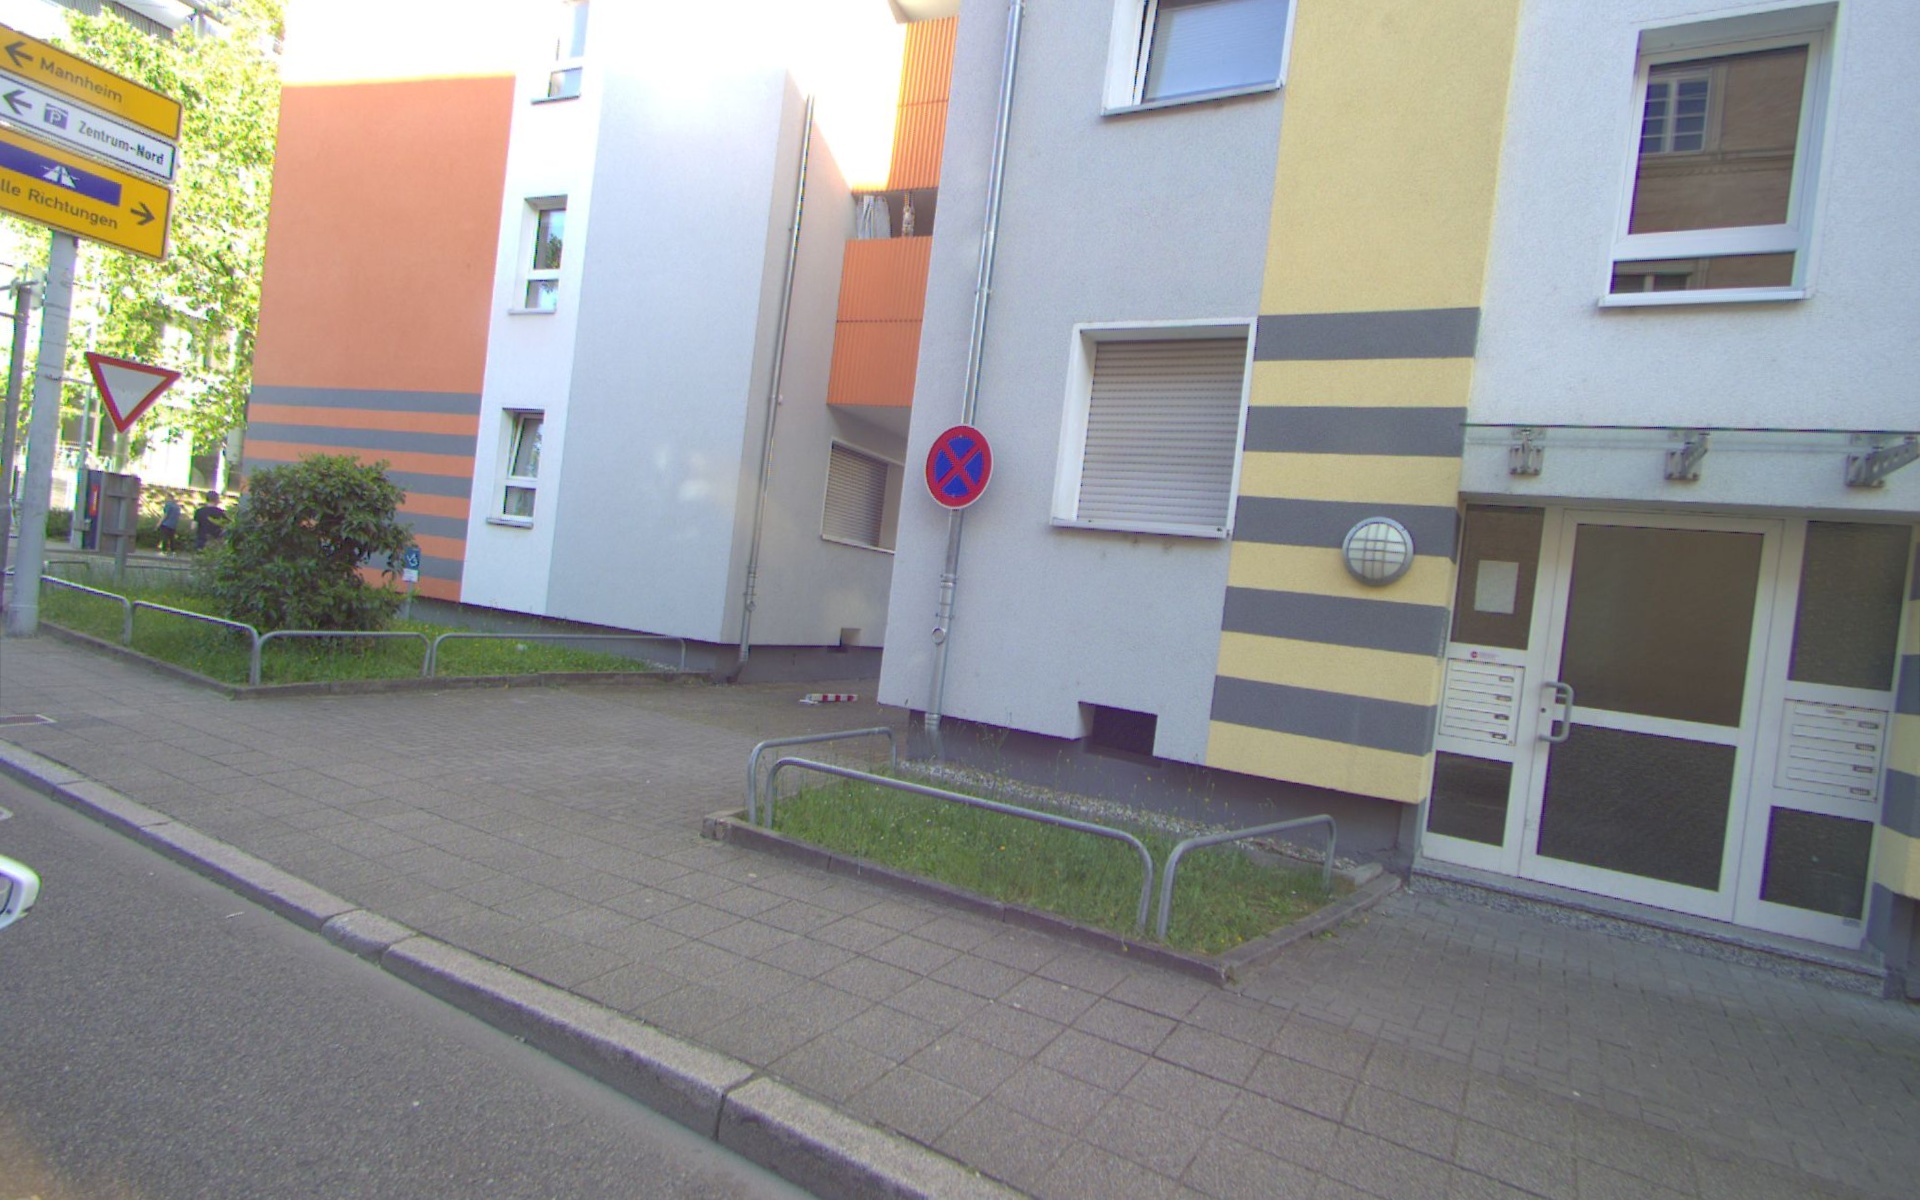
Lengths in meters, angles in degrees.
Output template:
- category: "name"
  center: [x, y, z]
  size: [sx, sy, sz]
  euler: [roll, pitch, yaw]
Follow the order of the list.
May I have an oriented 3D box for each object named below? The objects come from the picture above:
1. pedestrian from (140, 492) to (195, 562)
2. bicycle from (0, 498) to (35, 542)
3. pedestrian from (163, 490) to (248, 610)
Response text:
- category: "pedestrian"
  center: [-23.095, -2.108, 29.324]
  size: [0.696, 1.861, 0.837]
  euler: [8, -1, 22]
- category: "bicycle"
  center: [-26.282, -2.239, 27.353]
  size: [1.658, 1.063, 0.508]
  euler: [9, 2, -3]
- category: "pedestrian"
  center: [-12.733, -0.839, 16.992]
  size: [0.823, 1.861, 0.708]
  euler: [8, -1, 32]
